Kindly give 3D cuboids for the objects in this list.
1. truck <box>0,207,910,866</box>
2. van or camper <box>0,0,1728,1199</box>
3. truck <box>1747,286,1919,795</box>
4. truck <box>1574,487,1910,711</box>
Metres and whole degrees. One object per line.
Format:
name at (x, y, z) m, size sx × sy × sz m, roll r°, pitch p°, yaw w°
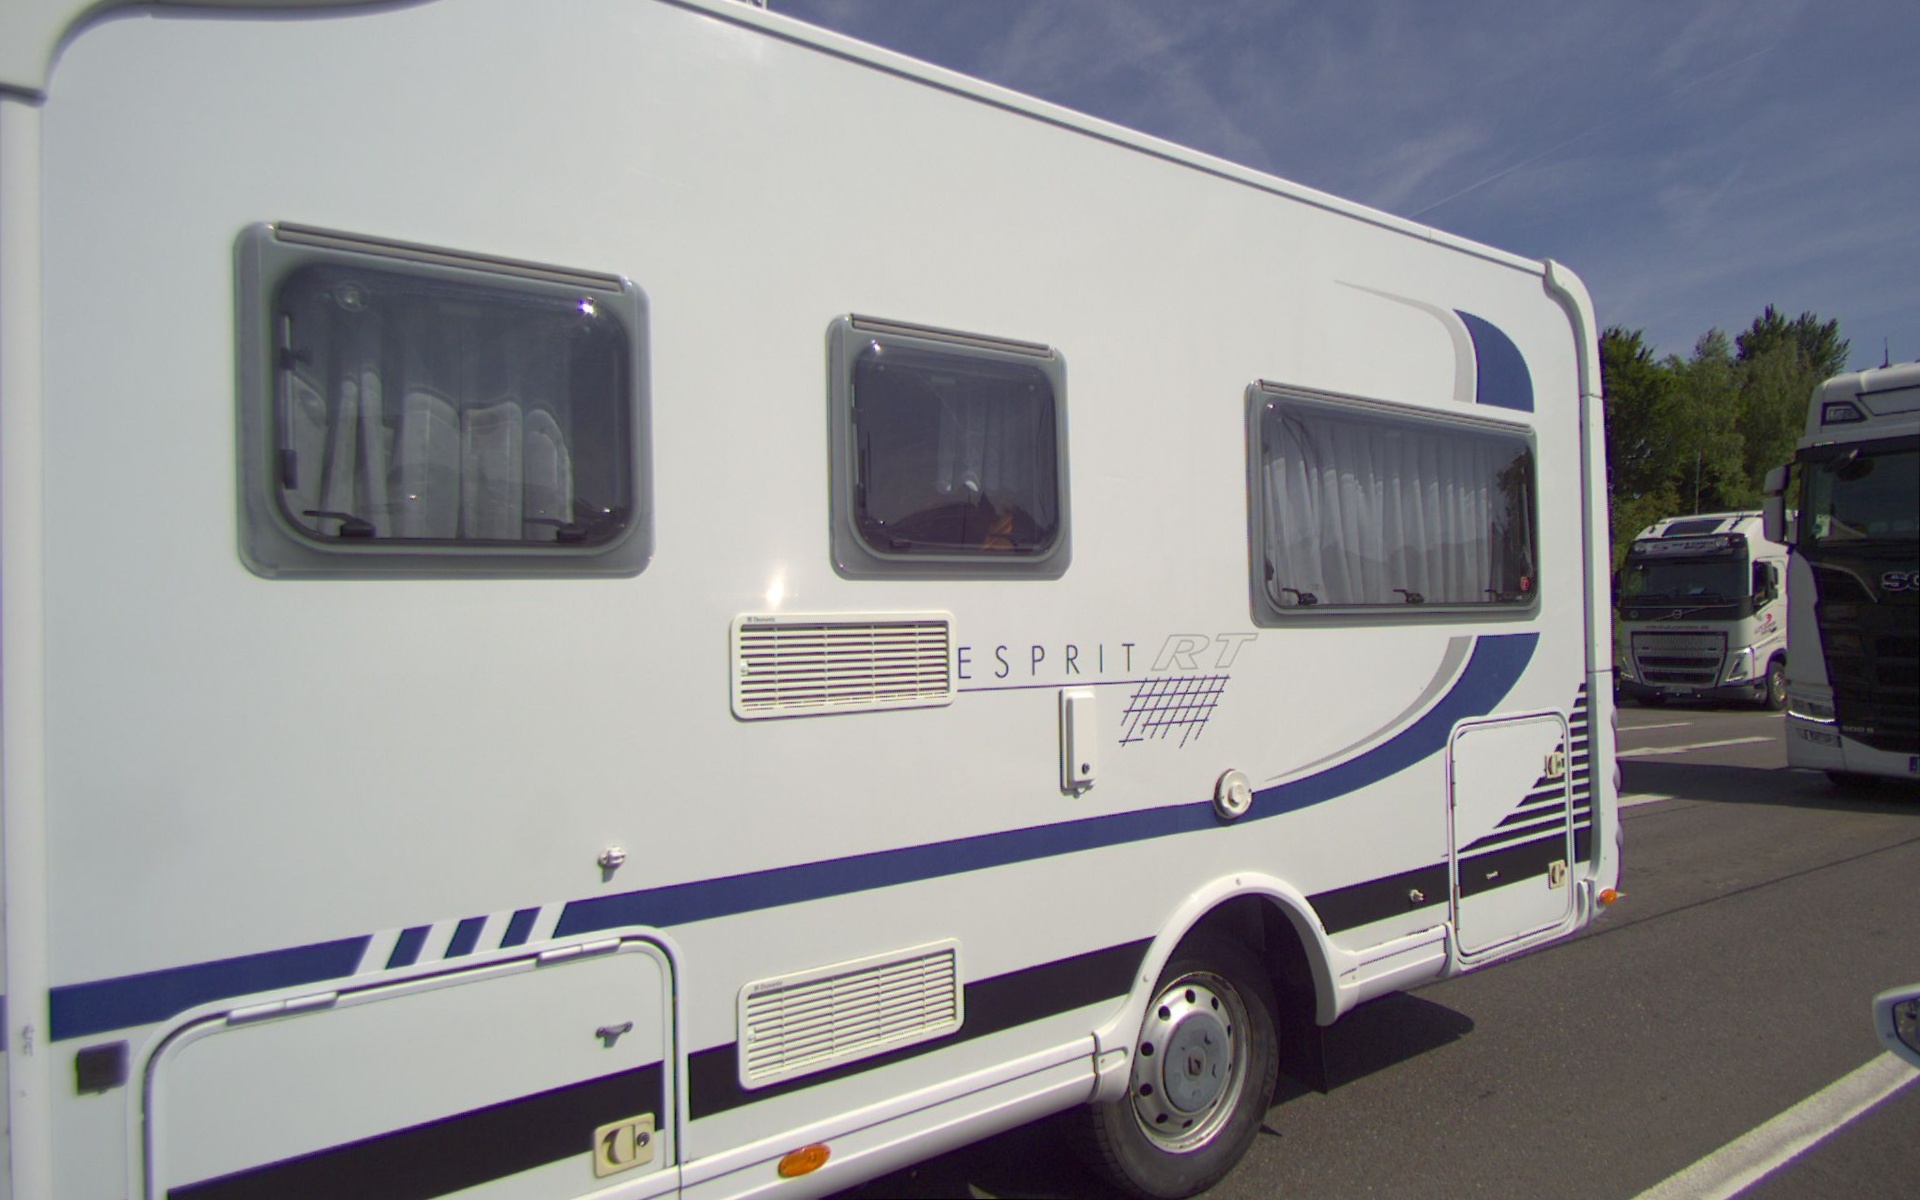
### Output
truck at (-5.225, -0.329, 8.188) m, size 9.512 × 4.051 × 2.715 m, roll 2°, pitch -2°, yaw -32°
van or camper at (-0.730, 0.131, 2.795) m, size 6.902 × 2.634 × 2.318 m, roll 2°, pitch -2°, yaw -32°
truck at (10.466, -0.417, 9.749) m, size 6.197 × 4.141 × 2.523 m, roll 2°, pitch -2°, yaw -32°
truck at (17.669, 0.130, 22.420) m, size 9.575 × 4.170 × 2.815 m, roll 2°, pitch -2°, yaw -32°
